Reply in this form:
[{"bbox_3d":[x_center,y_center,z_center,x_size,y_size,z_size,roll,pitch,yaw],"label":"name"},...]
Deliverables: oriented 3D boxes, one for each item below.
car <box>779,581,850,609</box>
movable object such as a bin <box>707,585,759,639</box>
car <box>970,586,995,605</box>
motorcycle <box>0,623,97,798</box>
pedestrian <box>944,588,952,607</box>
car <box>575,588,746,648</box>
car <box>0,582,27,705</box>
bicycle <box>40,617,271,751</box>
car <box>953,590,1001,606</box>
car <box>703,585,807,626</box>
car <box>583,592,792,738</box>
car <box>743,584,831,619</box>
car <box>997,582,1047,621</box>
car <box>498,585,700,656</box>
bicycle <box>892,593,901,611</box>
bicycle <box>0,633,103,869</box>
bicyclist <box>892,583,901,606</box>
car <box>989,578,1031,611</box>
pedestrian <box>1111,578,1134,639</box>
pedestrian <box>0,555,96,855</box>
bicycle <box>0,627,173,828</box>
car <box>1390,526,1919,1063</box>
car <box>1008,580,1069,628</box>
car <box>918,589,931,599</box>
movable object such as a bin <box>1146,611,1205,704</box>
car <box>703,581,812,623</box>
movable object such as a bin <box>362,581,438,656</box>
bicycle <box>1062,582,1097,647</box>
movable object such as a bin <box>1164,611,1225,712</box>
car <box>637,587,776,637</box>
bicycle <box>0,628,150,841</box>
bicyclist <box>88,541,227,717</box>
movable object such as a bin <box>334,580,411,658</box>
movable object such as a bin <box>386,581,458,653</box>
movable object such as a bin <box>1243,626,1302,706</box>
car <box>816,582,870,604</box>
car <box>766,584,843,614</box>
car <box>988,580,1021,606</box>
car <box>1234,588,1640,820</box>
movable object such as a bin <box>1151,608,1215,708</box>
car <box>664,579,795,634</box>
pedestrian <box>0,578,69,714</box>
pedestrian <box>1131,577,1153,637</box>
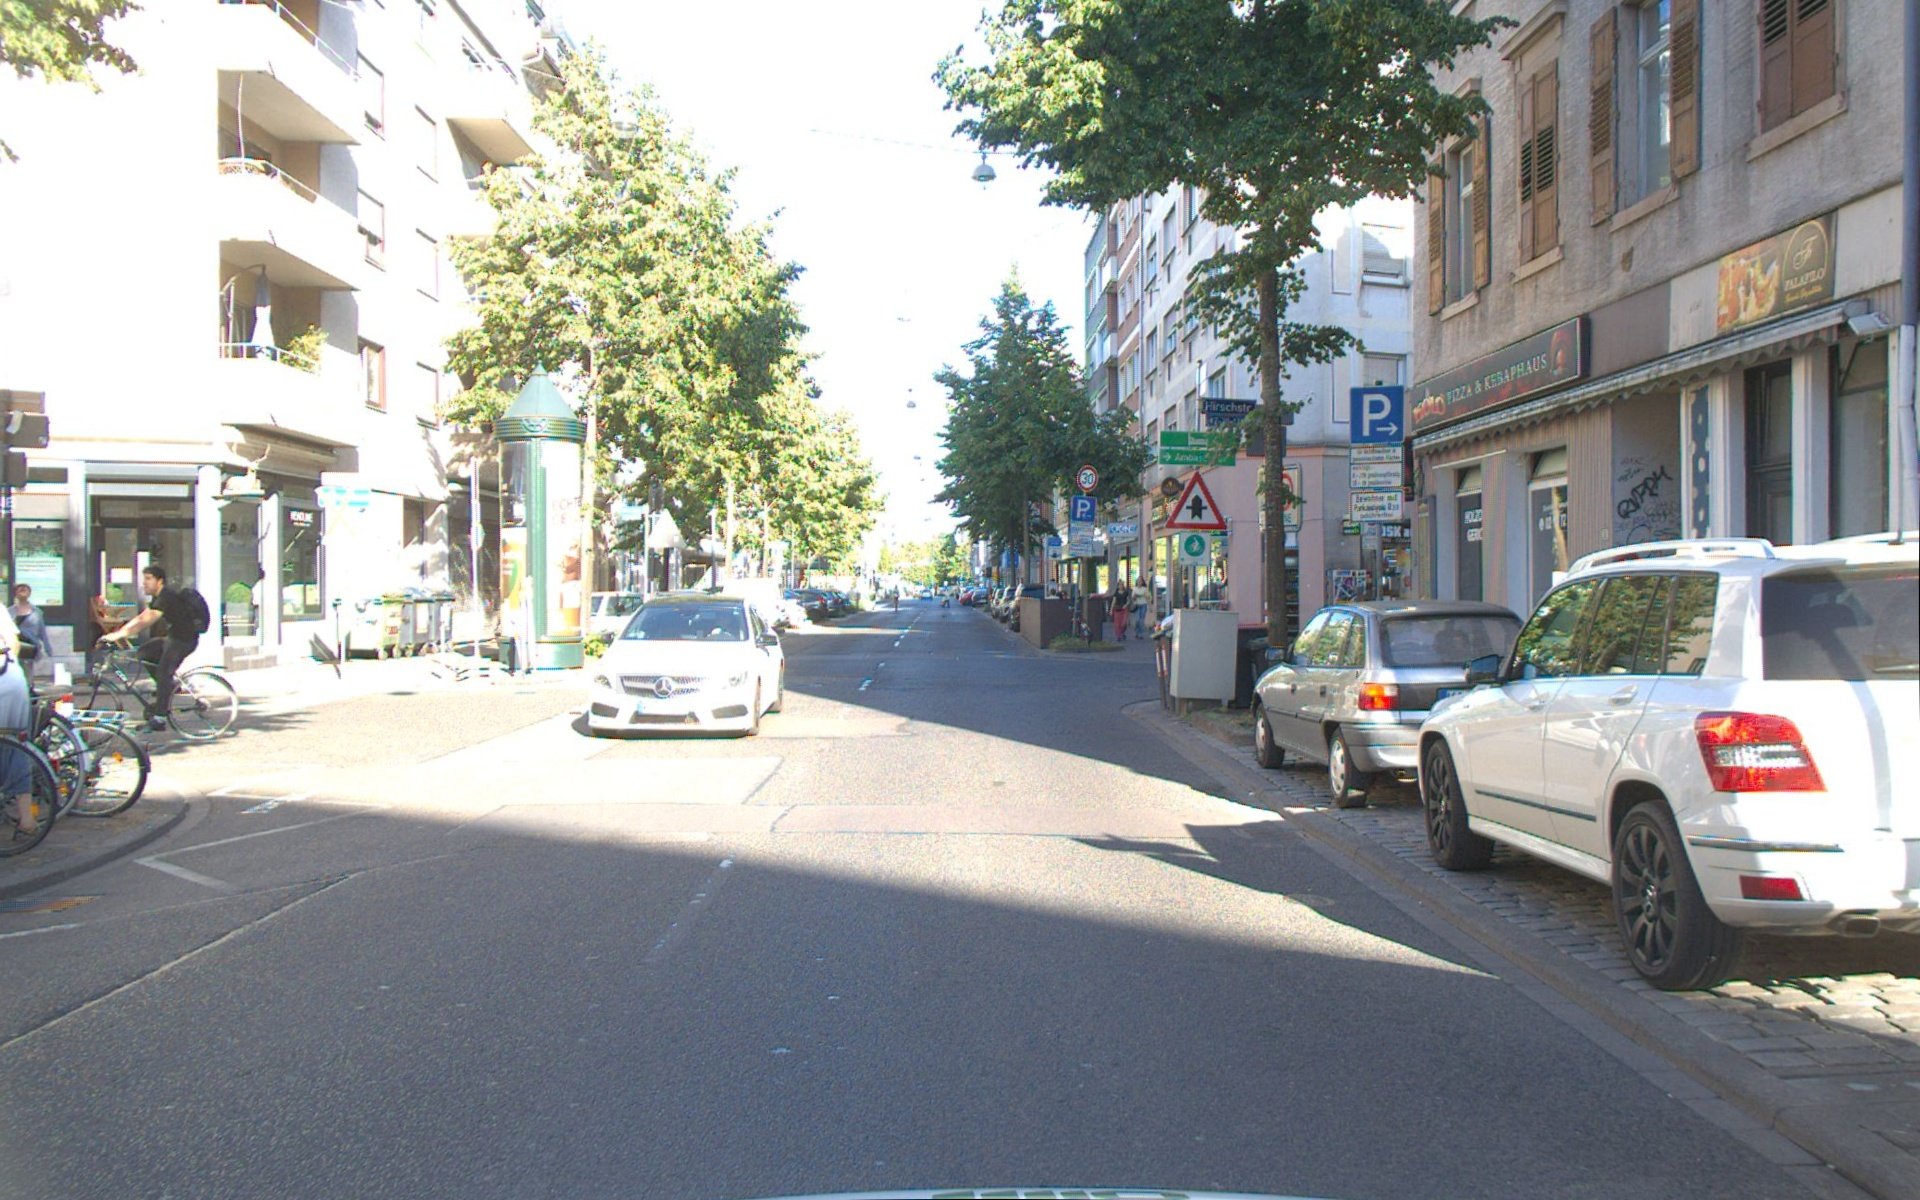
[{"bbox_3d":[-8.222,-0.287,93.880,3.906,1.526,1.999,-1,1,-2],"label":"car"},{"bbox_3d":[-6.566,0.342,47.887,1.307,1.504,1.480,-1,1,-1],"label":"movable object such as a bin"},{"bbox_3d":[1.919,-0.363,140.511,1.953,1.534,3.999,0,0,-1],"label":"car"},{"bbox_3d":[-7.539,0.807,12.308,1.820,1.251,0.755,0,0,-13],"label":"motorcycle"},{"bbox_3d":[-0.969,-0.198,134.138,0.534,1.498,0.546,-1,0,-3],"label":"pedestrian"},{"bbox_3d":[-7.402,0.430,41.198,3.906,1.414,1.999,-1,1,-2],"label":"car"},{"bbox_3d":[-14.974,0.630,22.251,3.931,1.638,1.987,-1,0,-22],"label":"car"},{"bbox_3d":[-8.161,0.818,16.826,2.015,1.241,0.711,-1,1,-38],"label":"bicycle"},{"bbox_3d":[1.545,-0.158,149.901,3.954,1.467,1.975,0,0,-35],"label":"car"},{"bbox_3d":[-8.082,0.215,65.420,3.906,1.526,1.999,-1,-1,-2],"label":"car"},{"bbox_3d":[-2.967,0.645,18.878,1.766,1.460,4.408,0,0,-2],"label":"car"},{"bbox_3d":[-7.993,0.064,76.869,3.906,1.526,1.999,-1,1,-2],"label":"car"},{"bbox_3d":[2.686,0.035,72.523,1.953,1.637,4.000,-1,1,-1],"label":"car"},{"bbox_3d":[-7.660,0.416,35.406,3.906,1.414,1.999,-1,1,-2],"label":"car"},{"bbox_3d":[-4.306,0.120,112.183,0.549,1.200,1.628,0,0,-1],"label":"bicycle"},{"bbox_3d":[-5.896,0.830,9.283,1.820,1.274,0.599,1,0,-9],"label":"bicycle"},{"bbox_3d":[-4.313,-0.350,112.200,0.549,1.575,0.728,0,0,-1],"label":"bicyclist"},{"bbox_3d":[2.562,-0.283,85.158,1.953,1.637,4.000,-1,1,-1],"label":"car"},{"bbox_3d":[4.494,0.226,45.753,0.535,1.678,0.664,-1,1,-1],"label":"pedestrian"},{"bbox_3d":[-5.693,0.605,9.961,0.785,1.737,0.758,0,0,-34],"label":"pedestrian"},{"bbox_3d":[-6.271,0.826,10.932,1.820,1.274,0.599,1,0,-9],"label":"bicycle"},{"bbox_3d":[3.527,0.572,7.648,1.785,1.708,4.600,-3,1,0],"label":"car"},{"bbox_3d":[2.770,0.117,59.150,1.953,1.637,4.000,-1,1,-1],"label":"car"},{"bbox_3d":[-4.908,-0.834,227.819,1.756,1.436,4.000,-1,1,-1],"label":"car"},{"bbox_3d":[2.867,0.752,22.019,0.646,1.200,0.739,-1,1,-3],"label":"movable object such as a bin"},{"bbox_3d":[-7.660,0.076,62.922,3.906,1.526,1.999,-1,1,-2],"label":"car"},{"bbox_3d":[-11.618,0.378,34.371,1.148,1.511,1.314,-1,1,-3],"label":"movable object such as a bin"},{"bbox_3d":[2.844,0.337,39.485,0.549,1.465,1.628,-6,1,-1],"label":"bicycle"},{"bbox_3d":[2.890,0.749,20.439,0.609,1.200,0.711,-1,1,-3],"label":"movable object such as a bin"},{"bbox_3d":[-7.825,0.354,51.305,3.903,1.482,1.869,-1,1,4],"label":"car"},{"bbox_3d":[-6.115,0.820,10.294,1.820,1.274,0.599,1,0,-9],"label":"bicycle"},{"bbox_3d":[-8.160,0.275,16.826,1.145,1.722,0.712,-1,0,-38],"label":"bicyclist"},{"bbox_3d":[-11.671,0.371,32.914,1.117,1.511,1.235,-1,1,-3],"label":"movable object such as a bin"},{"bbox_3d":[-11.700,0.359,36.000,1.148,1.511,1.314,-1,1,-3],"label":"movable object such as a bin"},{"bbox_3d":[3.718,0.776,19.694,0.551,0.911,0.628,-1,1,-3],"label":"movable object such as a bin"},{"bbox_3d":[-8.607,-0.501,121.822,3.906,1.526,1.999,-1,1,-2],"label":"car"},{"bbox_3d":[-8.214,-0.070,87.636,3.906,1.526,1.999,-1,1,-2],"label":"car"},{"bbox_3d":[2.814,-0.467,105.503,1.953,1.637,4.000,-1,1,-1],"label":"car"},{"bbox_3d":[3.480,0.664,12.968,1.785,1.415,4.300,-3,1,-2],"label":"car"},{"bbox_3d":[2.858,0.732,21.277,0.691,1.244,0.680,-1,1,-3],"label":"movable object such as a bin"},{"bbox_3d":[-7.510,0.202,54.108,3.903,1.724,2.001,-1,1,4],"label":"car"},{"bbox_3d":[-11.737,0.560,20.763,0.758,1.671,0.687,0,1,36],"label":"pedestrian"},{"bbox_3d":[5.087,0.188,46.213,0.535,1.678,0.664,-1,1,-1],"label":"pedestrian"}]
